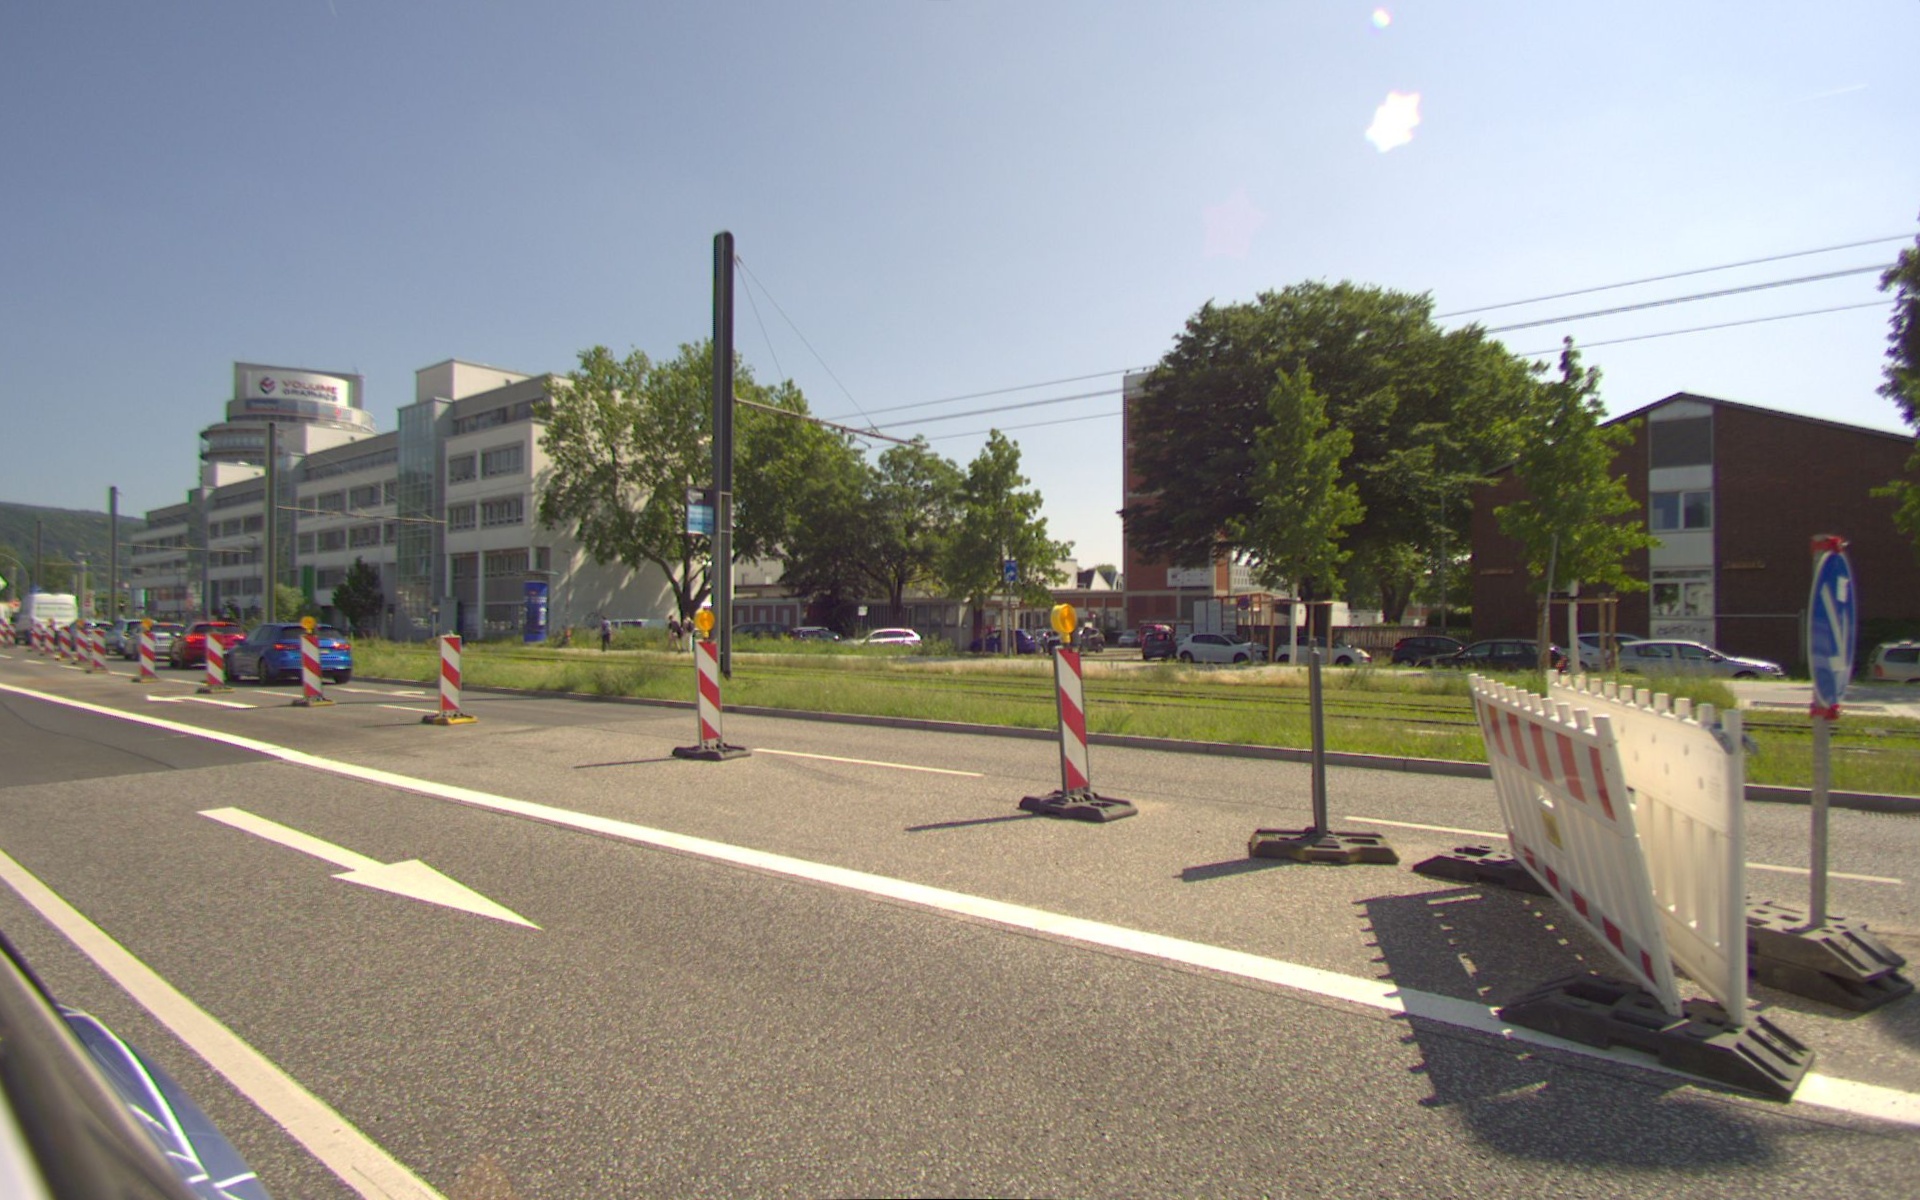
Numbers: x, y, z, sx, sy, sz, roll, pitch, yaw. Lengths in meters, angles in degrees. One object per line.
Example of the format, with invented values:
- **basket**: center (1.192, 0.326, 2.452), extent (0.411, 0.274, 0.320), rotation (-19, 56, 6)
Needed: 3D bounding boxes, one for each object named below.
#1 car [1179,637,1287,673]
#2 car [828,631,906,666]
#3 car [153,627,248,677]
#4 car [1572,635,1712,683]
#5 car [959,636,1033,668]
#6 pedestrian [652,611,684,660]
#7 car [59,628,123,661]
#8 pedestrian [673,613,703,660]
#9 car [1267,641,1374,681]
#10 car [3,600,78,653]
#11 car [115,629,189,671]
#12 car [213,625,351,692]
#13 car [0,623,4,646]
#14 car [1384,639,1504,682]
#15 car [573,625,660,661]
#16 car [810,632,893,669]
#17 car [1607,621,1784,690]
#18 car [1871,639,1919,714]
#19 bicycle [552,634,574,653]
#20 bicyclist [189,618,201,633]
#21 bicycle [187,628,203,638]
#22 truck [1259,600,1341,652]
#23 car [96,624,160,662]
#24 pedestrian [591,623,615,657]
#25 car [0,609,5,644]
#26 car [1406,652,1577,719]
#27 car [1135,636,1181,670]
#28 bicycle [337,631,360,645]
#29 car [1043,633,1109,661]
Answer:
- **car**: center (11.802, 2.343, 43.912), extent (4.263, 1.468, 1.523), rotation (-2, -2, 39)
- **car**: center (-4.673, 2.411, 50.667), extent (3.628, 1.603, 1.753), rotation (-1, 0, 34)
- **car**: center (-23.818, 1.584, 31.688), extent (3.997, 1.427, 1.563), rotation (-1, -2, 41)
- **car**: center (22.854, 1.942, 33.971), extent (3.783, 1.468, 1.523), rotation (-2, -2, 39)
- **car**: center (1.916, 2.770, 54.676), extent (3.628, 1.603, 1.753), rotation (-1, 0, 34)
- **pedestrian**: center (-12.599, 1.520, 43.612), extent (0.910, 2.029, 0.973), rotation (-1, -1, 41)
- **car**: center (-41.075, 2.073, 47.788), extent (4.467, 1.454, 1.656), rotation (-1, -3, 42)
- **pedestrian**: center (-11.918, 1.580, 44.342), extent (0.983, 2.029, 0.830), rotation (-2, -1, 42)
- **car**: center (14.371, 2.392, 40.396), extent (3.779, 1.468, 1.525), rotation (-1, -1, 35)
- **car**: center (-50.532, 1.438, 55.586), extent (5.980, 2.761, 2.057), rotation (-1, -3, 39)
- **car**: center (-30.189, 1.834, 37.779), extent (4.297, 1.427, 1.562), rotation (-1, -2, 43)
- **car**: center (-16.080, 1.336, 23.925), extent (4.287, 1.438, 1.611), rotation (-1, -3, 41)
- **car**: center (-65.326, 2.276, 67.610), extent (4.188, 1.468, 1.530), rotation (-1, -4, 39)
- **car**: center (17.879, 2.212, 37.416), extent (3.780, 1.468, 1.524), rotation (-2, -1, 36)
- **car**: center (-21.505, 2.663, 63.429), extent (4.988, 2.196, 2.121), rotation (0, -1, -24)
- **car**: center (-5.179, 2.381, 48.096), extent (3.628, 1.603, 1.753), rotation (-1, 0, 34)
- **car**: center (20.667, 1.496, 28.519), extent (3.936, 1.774, 1.681), rotation (0, -1, 40)
- **car**: center (25.324, 1.923, 24.827), extent (4.297, 1.774, 1.681), rotation (0, -1, 39)
- **bicycle**: center (-21.207, 2.335, 54.011), extent (1.557, 0.993, 0.455), rotation (-1, -1, 42)
- **bicyclist**: center (-78.950, 2.606, 104.421), extent (1.076, 1.551, 0.746), rotation (0, -1, 40)
- **bicycle**: center (-78.950, 3.390, 104.400), extent (2.829, 1.025, 0.746), rotation (0, -1, 40)
- **truck**: center (30.156, 2.152, 89.346), extent (2.885, 4.113, 12.483), rotation (-1, 0, 38)
- **car**: center (-35.693, 1.829, 43.406), extent (3.620, 1.542, 1.563), rotation (-1, -4, 42)
- **pedestrian**: center (-17.038, 1.909, 48.340), extent (0.827, 1.588, 0.805), rotation (-2, -2, 44)
- **car**: center (-74.922, 2.002, 77.344), extent (6.190, 2.598, 2.010), rotation (-1, -4, 40)
- **car**: center (16.638, 2.618, 31.808), extent (4.526, 1.774, 1.681), rotation (0, -1, 39)
- **car**: center (9.543, 2.509, 48.558), extent (1.533, 1.468, 3.724), rotation (-1, -1, 22)
- **bicycle**: center (-53.620, 3.317, 88.749), extent (0.438, 1.198, 1.630), rotation (-2, 0, 39)
- **car**: center (6.459, 2.609, 56.560), extent (3.341, 1.464, 1.523), rotation (-1, 0, 37)
